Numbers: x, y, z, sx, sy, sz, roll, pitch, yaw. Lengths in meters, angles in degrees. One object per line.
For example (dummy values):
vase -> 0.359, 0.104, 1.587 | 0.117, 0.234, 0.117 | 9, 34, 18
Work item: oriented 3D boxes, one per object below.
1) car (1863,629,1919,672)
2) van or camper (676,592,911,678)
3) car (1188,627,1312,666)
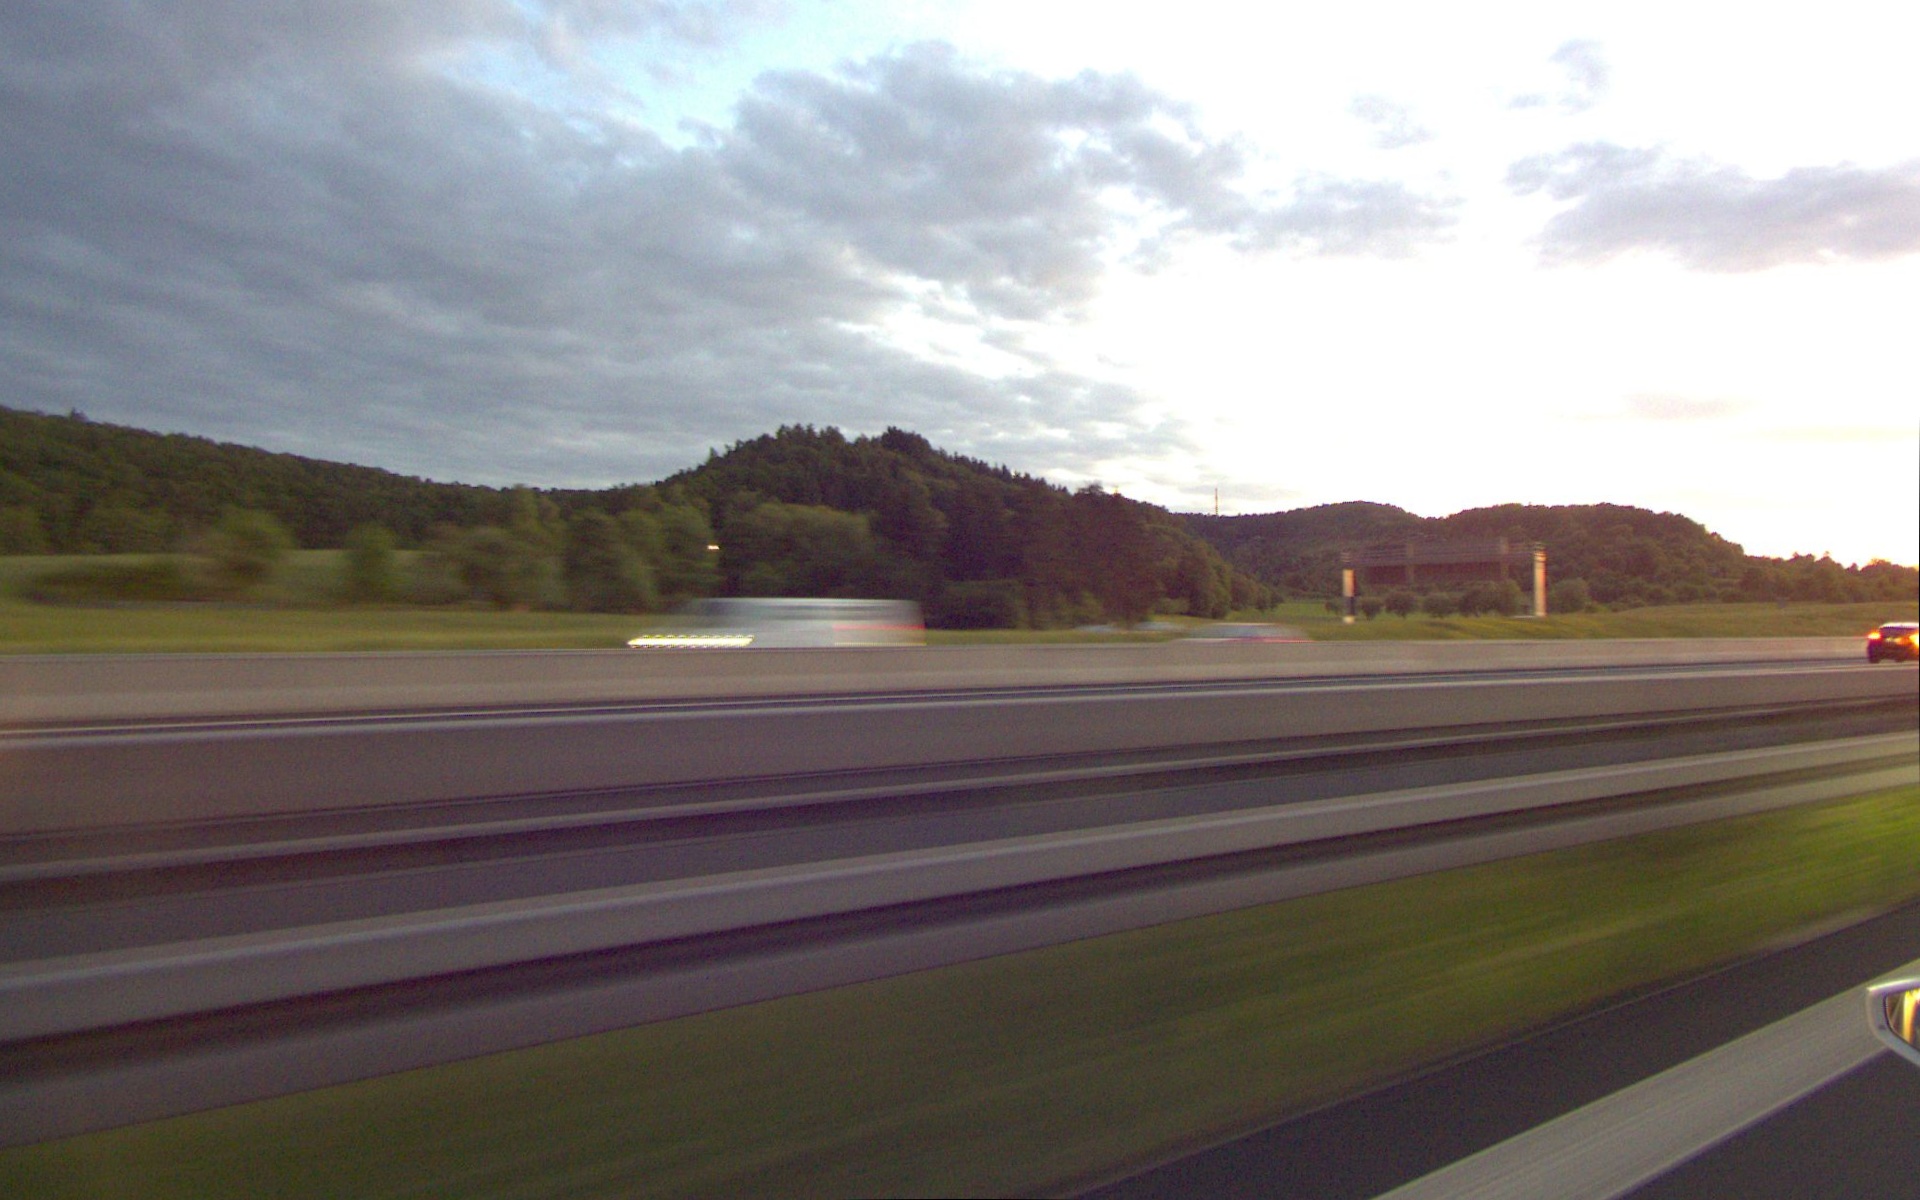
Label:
car -> 37.242, 1.959, 39.078 | 4.467, 1.582, 1.863 | 2, -2, -31
van or camper -> -4.054, 0.848, 24.950 | 5.479, 1.932, 1.880 | 1, -1, -32
car -> 9.983, 1.596, 34.534 | 4.163, 1.266, 1.744 | 2, -2, -30
